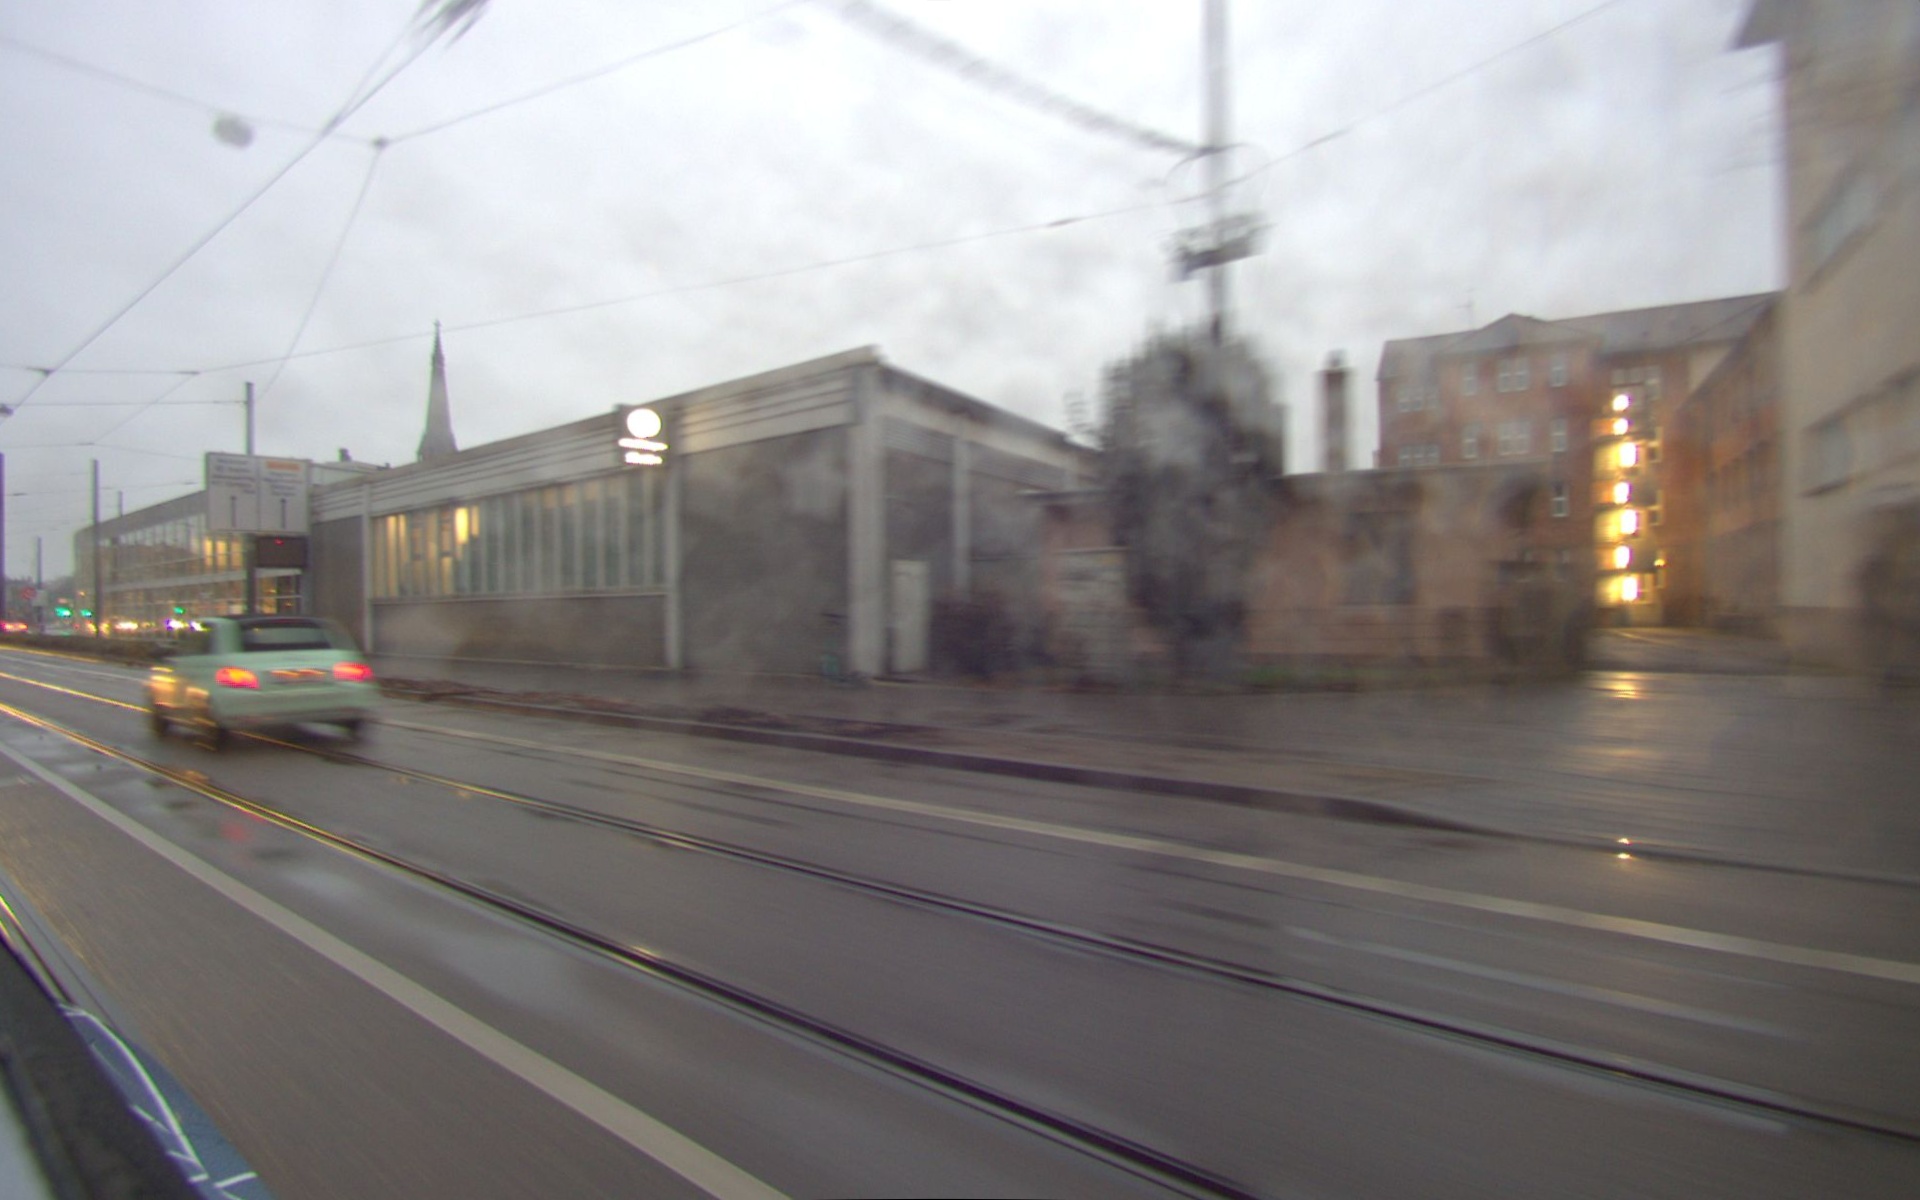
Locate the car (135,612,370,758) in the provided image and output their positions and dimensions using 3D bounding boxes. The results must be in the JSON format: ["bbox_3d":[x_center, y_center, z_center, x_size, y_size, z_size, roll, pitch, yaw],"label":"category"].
[{"bbox_3d":[-8.614,0.912,12.223,3.559,1.493,1.514,-1,-1,41],"label":"car"}]
